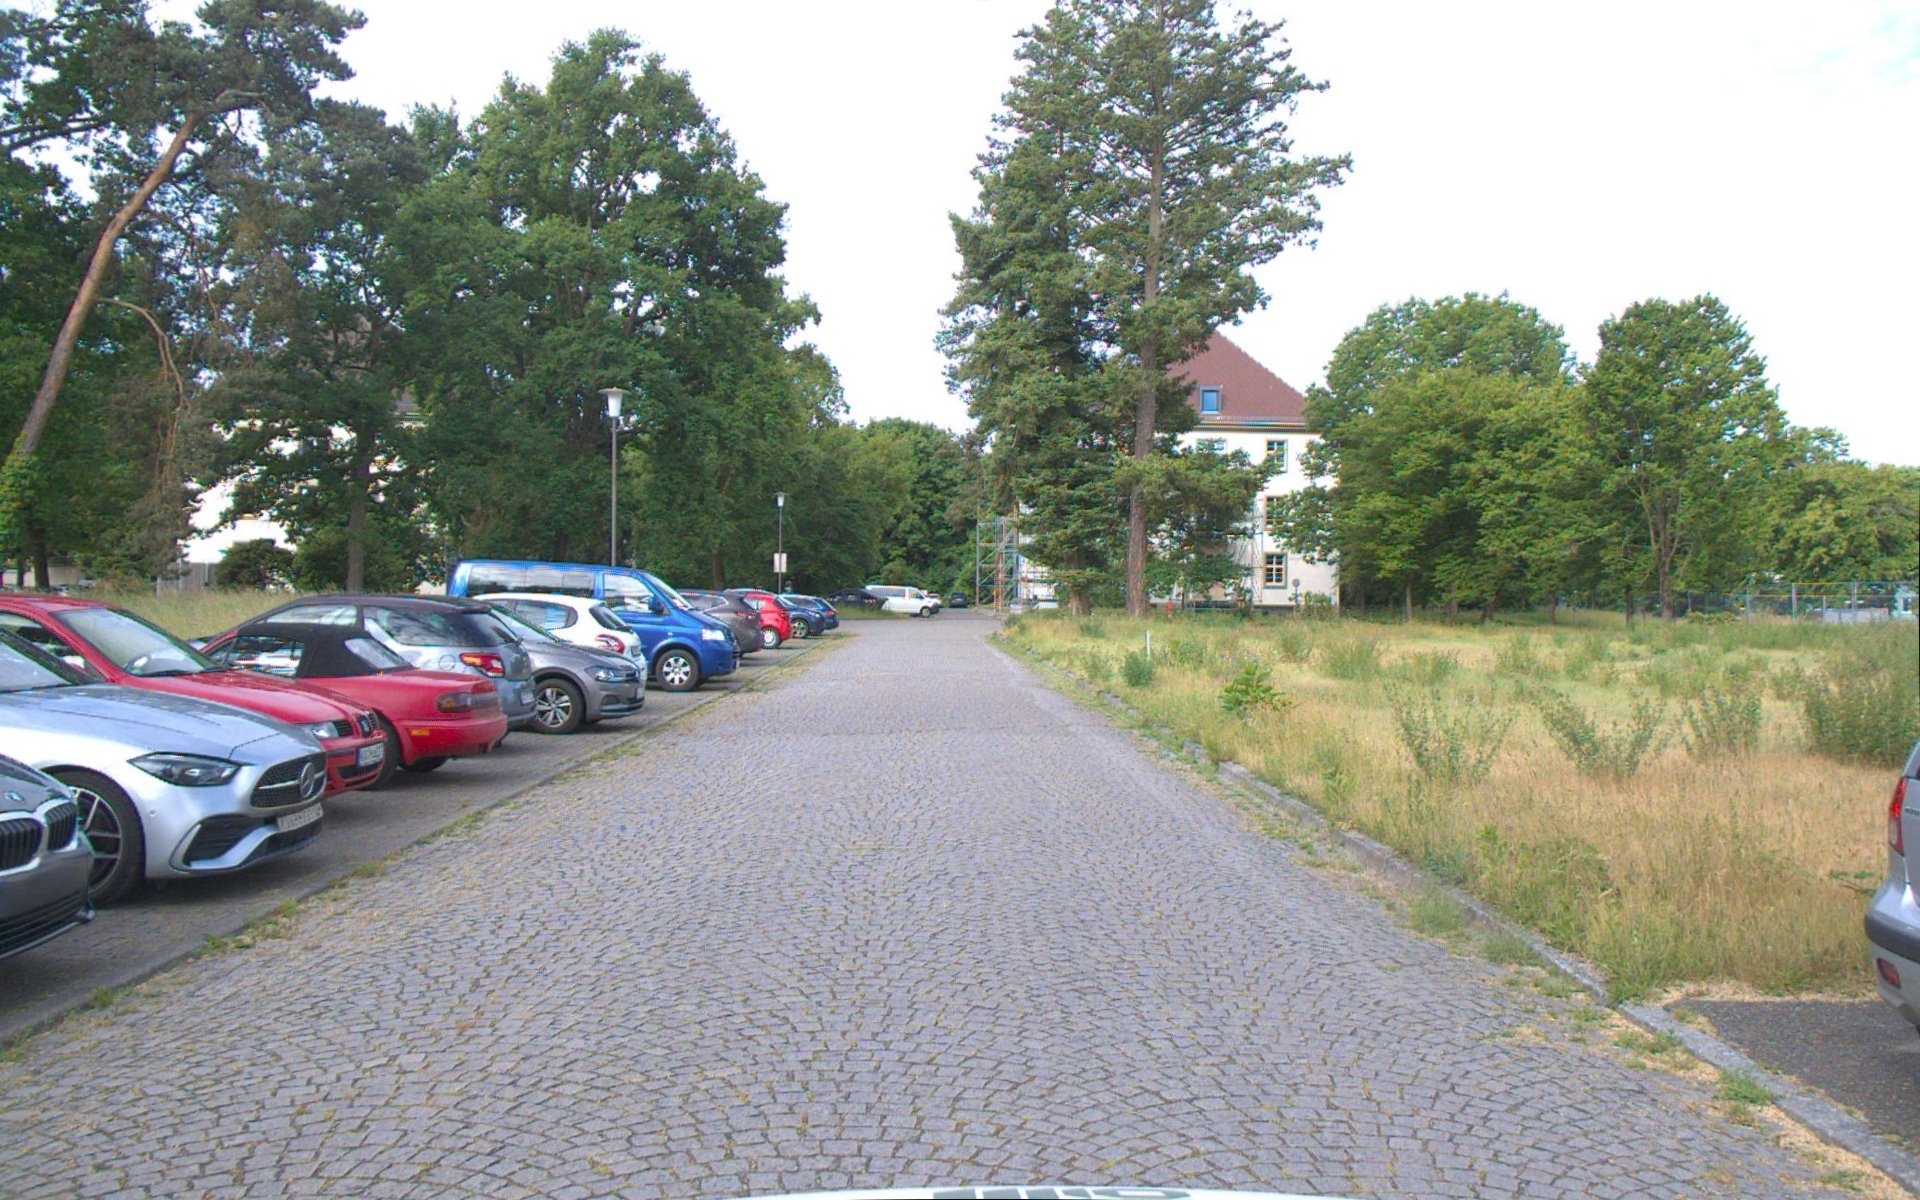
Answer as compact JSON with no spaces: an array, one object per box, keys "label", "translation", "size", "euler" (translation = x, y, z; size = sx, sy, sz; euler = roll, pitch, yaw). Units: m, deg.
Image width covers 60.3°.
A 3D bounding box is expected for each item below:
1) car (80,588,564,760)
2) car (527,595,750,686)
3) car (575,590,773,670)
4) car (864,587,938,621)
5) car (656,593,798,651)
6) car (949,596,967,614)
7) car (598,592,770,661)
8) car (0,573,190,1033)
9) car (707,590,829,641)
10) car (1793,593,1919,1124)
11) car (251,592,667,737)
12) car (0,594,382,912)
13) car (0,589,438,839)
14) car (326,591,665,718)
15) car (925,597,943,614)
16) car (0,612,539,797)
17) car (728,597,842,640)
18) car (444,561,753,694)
[{"label":"car","translation":[-6.086,0.681,16.121],"size":[4.004,1.506,1.755],"euler":[1,0,0]},{"label":"car","translation":[-5.719,0.714,29.768],"size":[3.718,1.519,1.725],"euler":[1,0,-4]},{"label":"car","translation":[-6.168,0.633,36.041],"size":[3.986,1.602,1.953],"euler":[1,0,-3]},{"label":"car","translation":[-3.929,0.258,110.348],"size":[4.878,2.109,2.051],"euler":[2,-2,-3]},{"label":"car","translation":[-6.477,0.607,46.348],"size":[3.739,1.515,1.787],"euler":[1,0,-2]},{"label":"car","translation":[-0.257,0.554,176.818],"size":[1.754,1.750,4.058],"euler":[0,-2,-3]},{"label":"car","translation":[-6.434,0.614,38.821],"size":[3.738,1.512,1.761],"euler":[1,0,-2]},{"label":"car","translation":[-5.500,0.653,6.078],"size":[4.413,1.564,1.869],"euler":[1,-1,-5]},{"label":"car","translation":[-6.545,0.527,56.598],"size":[3.990,1.632,1.786],"euler":[1,0,-3]},{"label":"car","translation":[4.601,0.690,4.598],"size":[3.698,1.505,1.741],"euler":[-2,1,-4]},{"label":"car","translation":[-5.651,0.702,19.016],"size":[4.216,1.506,1.731],"euler":[1,0,0]},{"label":"car","translation":[-5.596,0.701,8.761],"size":[4.346,1.481,1.949],"euler":[1,-1,-1]},{"label":"car","translation":[-5.880,0.684,11.062],"size":[4.168,1.480,1.855],"euler":[1,0,-1]},{"label":"car","translation":[-6.052,0.686,21.871],"size":[3.923,1.528,1.843],"euler":[1,0,0]},{"label":"car","translation":[-2.821,0.570,176.426],"size":[1.754,1.665,4.058],"euler":[0,-2,-3]},{"label":"car","translation":[-5.685,0.806,13.450],"size":[4.047,1.305,1.763],"euler":[1,0,-1]},{"label":"car","translation":[-6.455,0.677,61.298],"size":[3.986,1.493,1.626],"euler":[1,0,2]},{"label":"car","translation":[-5.842,0.438,27.178],"size":[4.615,2.015,2.037],"euler":[1,0,-2]}]
